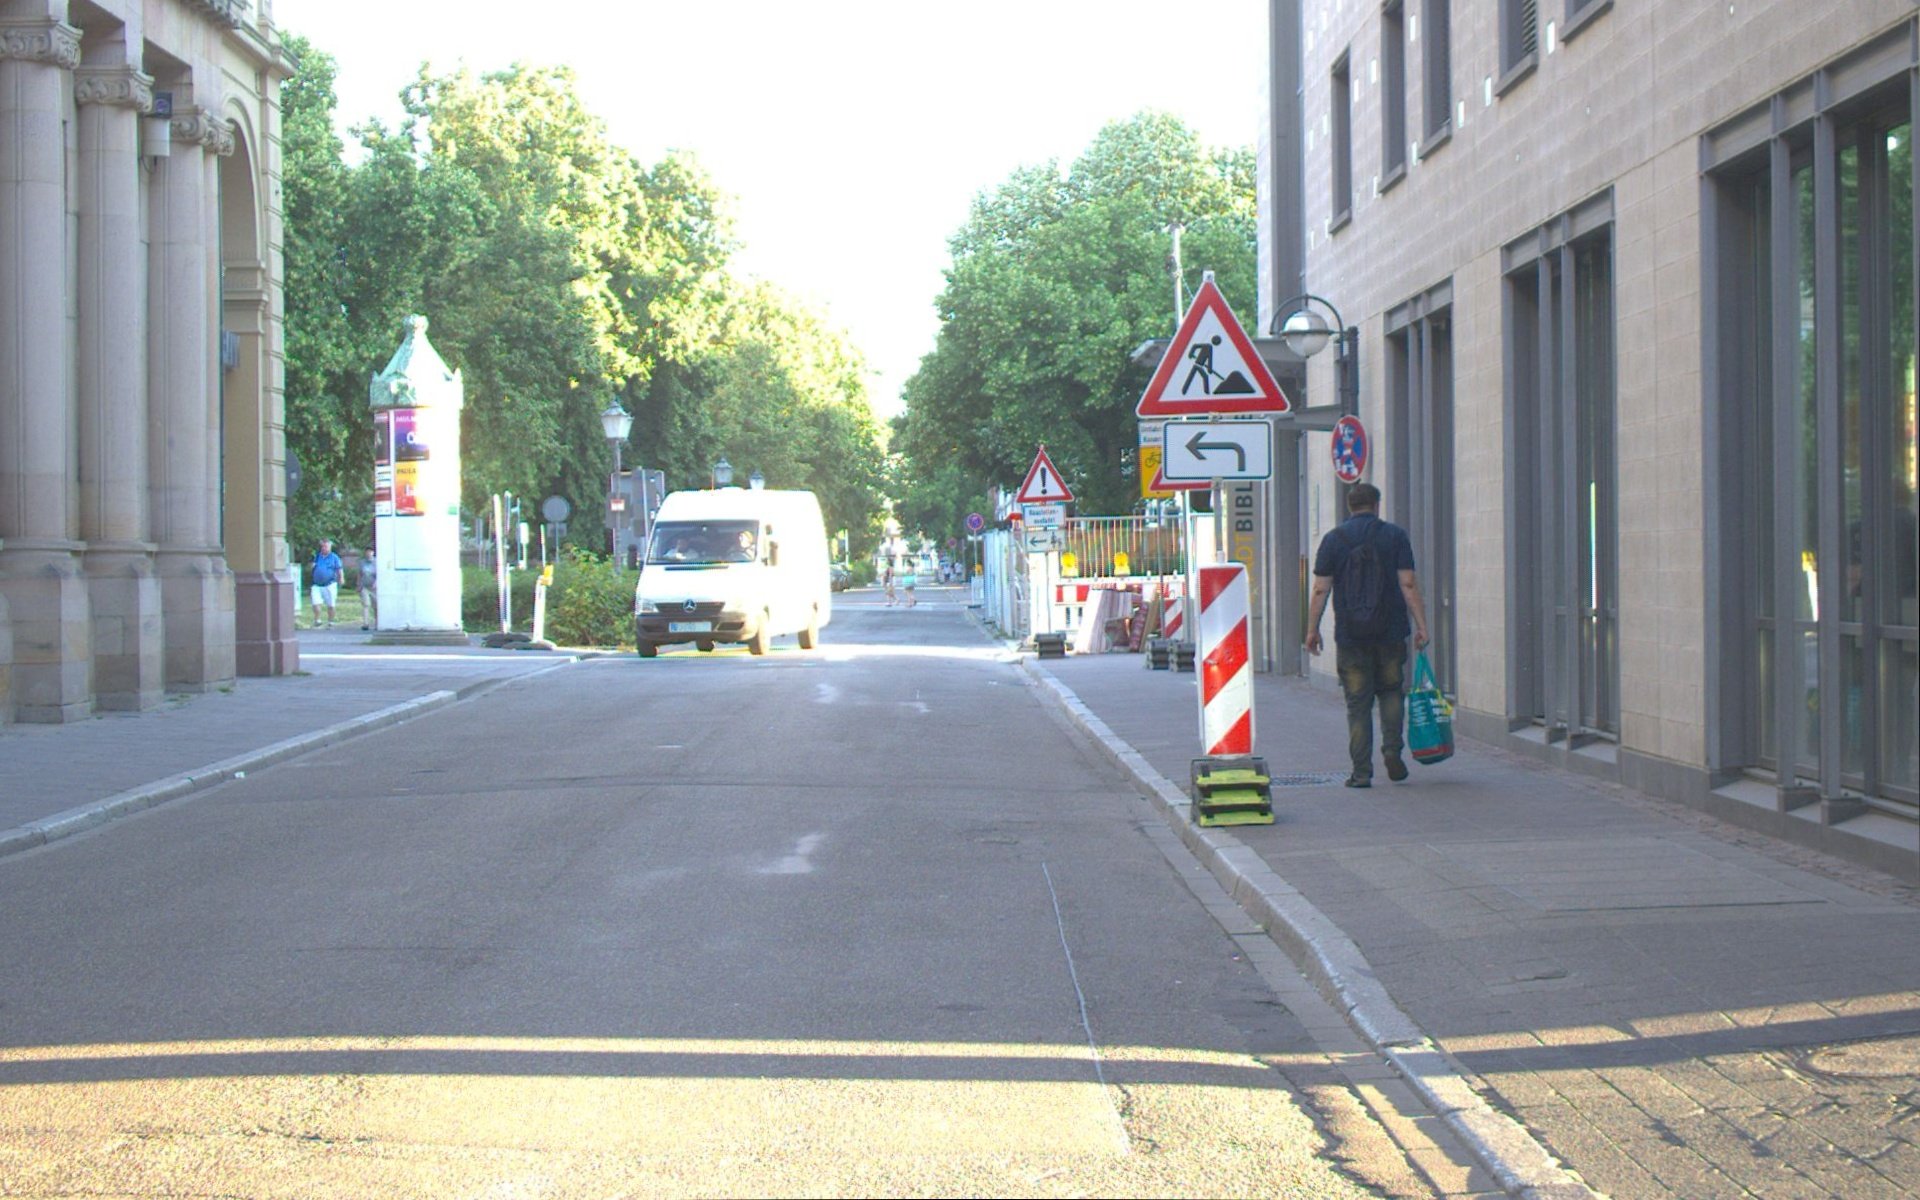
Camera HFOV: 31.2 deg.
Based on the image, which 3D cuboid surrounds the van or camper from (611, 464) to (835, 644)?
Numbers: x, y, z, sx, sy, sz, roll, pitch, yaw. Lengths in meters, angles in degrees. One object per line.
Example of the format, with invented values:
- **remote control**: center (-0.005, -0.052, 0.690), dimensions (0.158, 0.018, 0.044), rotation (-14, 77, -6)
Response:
- **van or camper**: center (-3.521, -0.718, 52.527), dimensions (2.220, 2.576, 6.370), rotation (0, 1, 7)

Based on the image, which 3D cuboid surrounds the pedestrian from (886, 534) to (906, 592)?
- **pedestrian**: center (-2.188, -1.266, 117.534), dimensions (0.581, 2.007, 0.682), rotation (0, 1, -9)

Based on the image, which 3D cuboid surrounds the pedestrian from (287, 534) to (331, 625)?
- **pedestrian**: center (-13.088, -0.416, 69.104), dimensions (0.849, 1.801, 0.664), rotation (0, 1, -14)

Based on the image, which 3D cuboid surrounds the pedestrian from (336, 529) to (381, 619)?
- **pedestrian**: center (-12.124, -0.524, 69.340), dimensions (0.849, 1.801, 0.664), rotation (0, 1, -14)

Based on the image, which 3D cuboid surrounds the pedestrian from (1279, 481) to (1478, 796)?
- **pedestrian**: center (2.459, 0.220, 20.303), dimensions (1.000, 1.797, 0.882), rotation (-2, 0, -1)
